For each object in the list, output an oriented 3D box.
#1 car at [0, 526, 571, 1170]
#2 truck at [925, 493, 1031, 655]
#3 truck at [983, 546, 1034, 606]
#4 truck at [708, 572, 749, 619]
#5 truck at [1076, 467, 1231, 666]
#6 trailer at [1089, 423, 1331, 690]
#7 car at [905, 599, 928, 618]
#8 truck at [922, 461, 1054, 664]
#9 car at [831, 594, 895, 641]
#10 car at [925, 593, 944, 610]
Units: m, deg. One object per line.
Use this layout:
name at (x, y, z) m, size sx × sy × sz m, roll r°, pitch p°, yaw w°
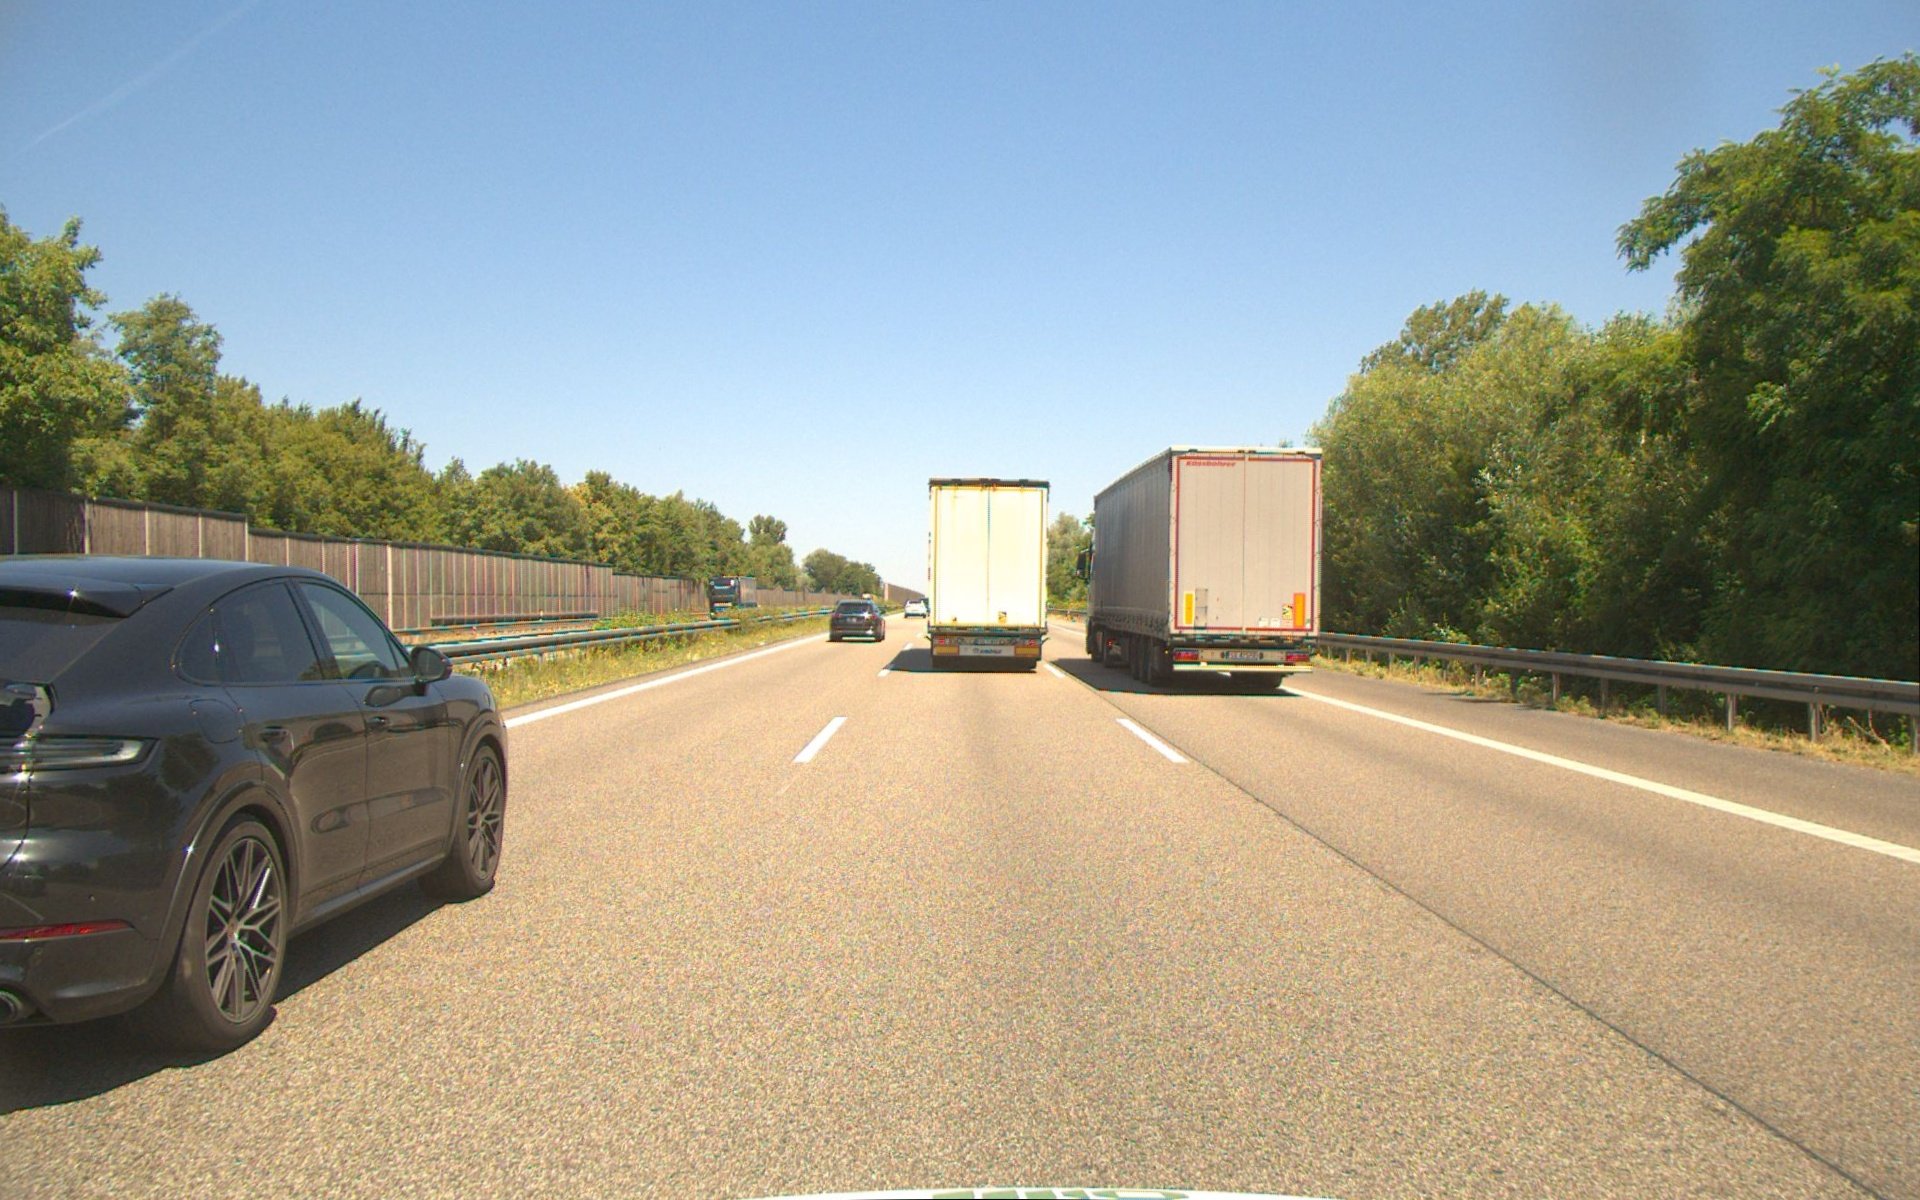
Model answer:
car at (-3.345, 0.620, 7.119) m, size 2.002 × 1.653 × 5.771 m, roll 0°, pitch 0°, yaw 0°
truck at (0.412, -0.697, 46.734) m, size 2.672 × 4.157 × 7.275 m, roll -1°, pitch 0°, yaw -1°
truck at (3.685, -1.821, 128.966) m, size 3.306 × 4.379 × 11.446 m, roll 1°, pitch 0°, yaw -1°
truck at (-21.221, -0.409, 152.028) m, size 2.672 × 4.157 × 7.837 m, roll -1°, pitch 0°, yaw -1°
truck at (4.502, -0.739, 40.077) m, size 2.636 × 4.289 × 7.837 m, roll -1°, pitch 0°, yaw -1°
trailer at (4.590, -0.729, 33.520) m, size 2.648 × 4.289 × 13.209 m, roll -1°, pitch 0°, yaw -1°
car at (-3.595, 0.684, 137.376) m, size 1.817 × 1.512 × 4.000 m, roll -2°, pitch 0°, yaw 0°
truck at (0.493, -0.797, 41.089) m, size 2.652 × 4.157 × 13.471 m, roll -1°, pitch 0°, yaw -1°
car at (-3.488, 0.590, 60.551) m, size 1.903 × 1.533 × 5.821 m, roll -2°, pitch 0°, yaw 1°
car at (-2.759, 0.163, 177.244) m, size 1.818 × 1.645 × 3.998 m, roll -2°, pitch 0°, yaw -2°
